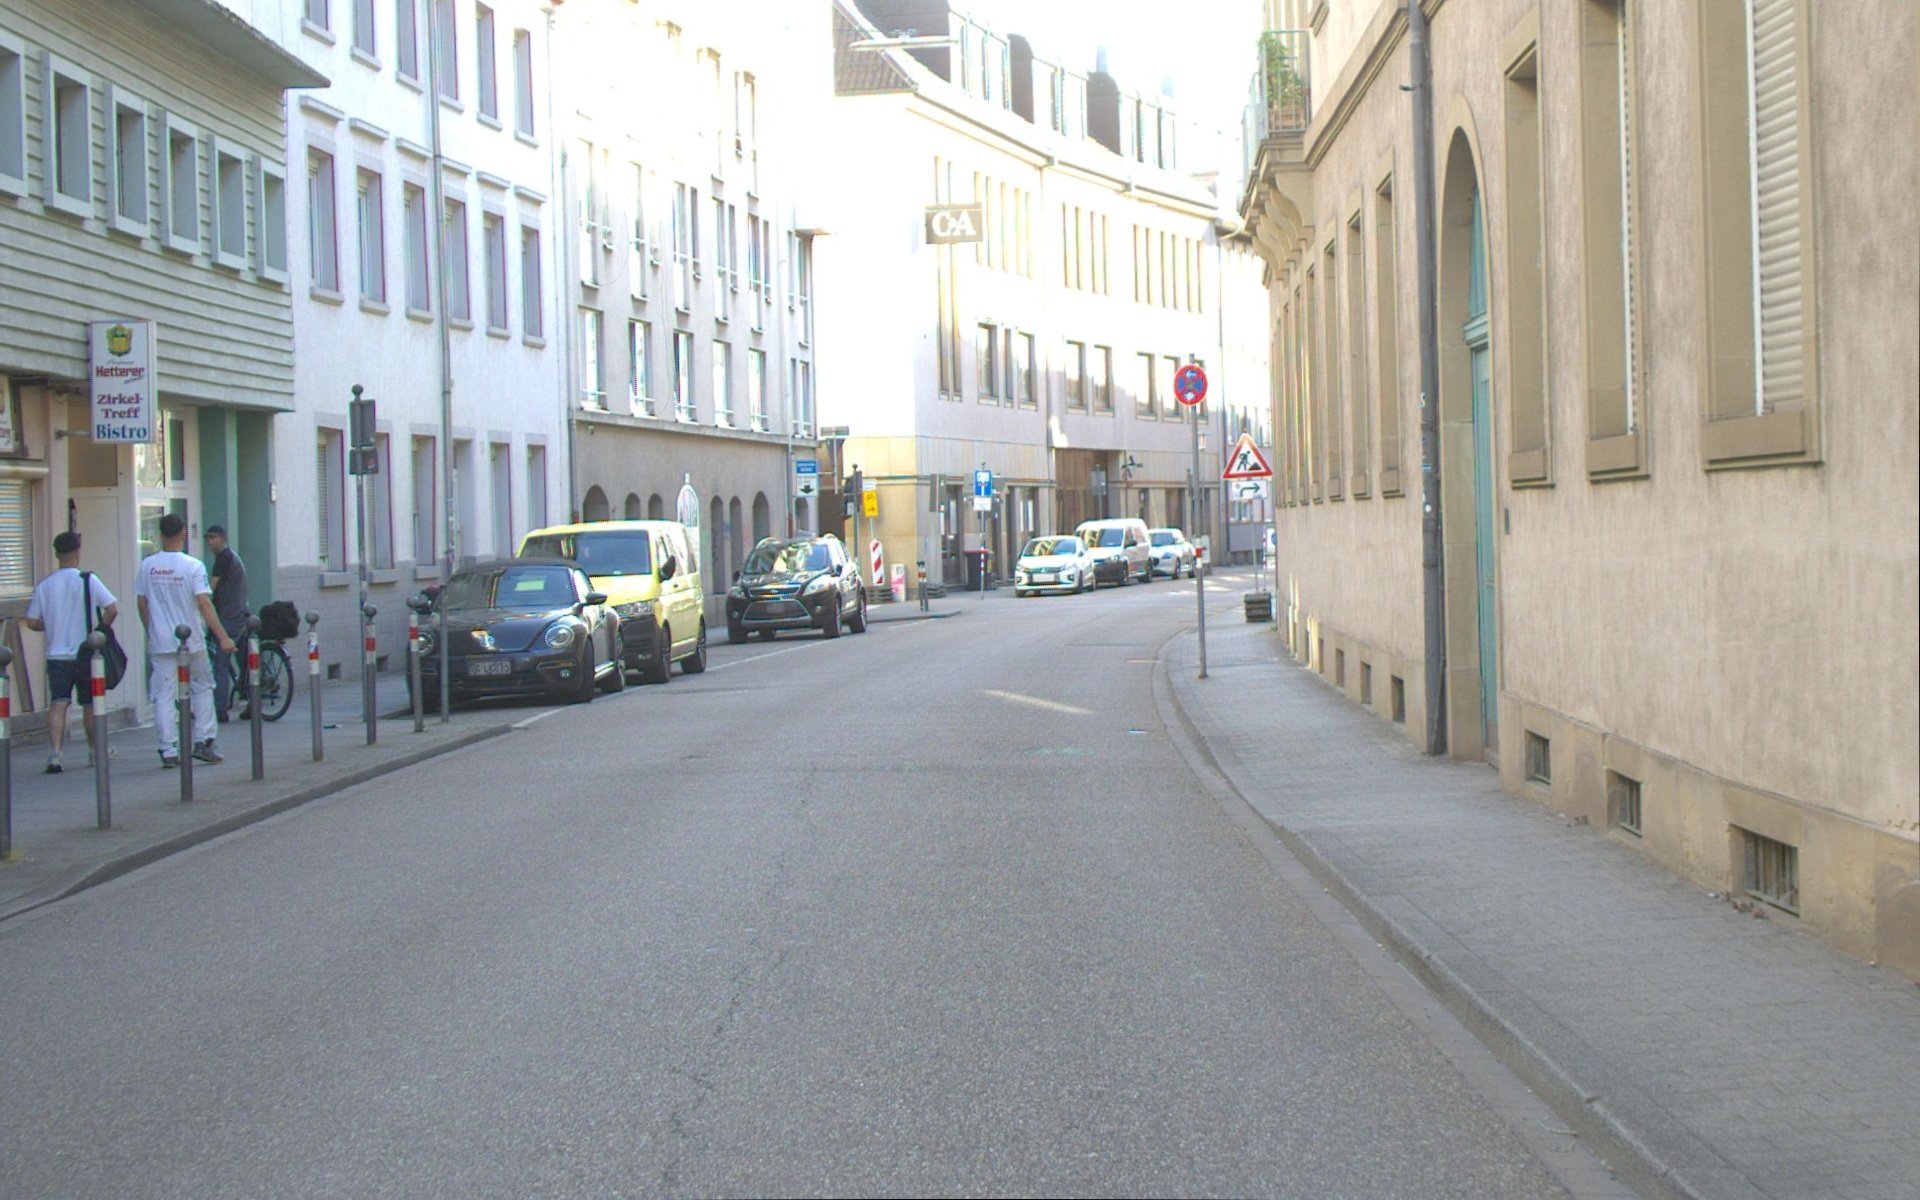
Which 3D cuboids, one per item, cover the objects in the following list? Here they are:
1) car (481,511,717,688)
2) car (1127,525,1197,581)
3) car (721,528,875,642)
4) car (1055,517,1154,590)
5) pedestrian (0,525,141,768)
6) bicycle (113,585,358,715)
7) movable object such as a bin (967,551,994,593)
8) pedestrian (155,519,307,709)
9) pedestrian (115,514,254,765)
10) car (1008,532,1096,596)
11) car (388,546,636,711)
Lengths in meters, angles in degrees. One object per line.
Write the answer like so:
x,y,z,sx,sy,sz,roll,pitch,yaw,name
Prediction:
-4.198,-0.053,40.786,1.880,1.860,4.863,-4,1,4,car
5.849,-1.367,99.180,1.272,1.501,3.399,-2,1,16,car
-2.655,-0.290,57.309,1.740,1.705,4.189,-4,1,8,car
3.945,-1.283,93.228,1.671,1.812,4.549,-2,1,15,car
-6.285,0.313,24.319,0.672,1.664,0.894,-2,1,2,pedestrian
-6.717,0.462,31.854,2.131,1.159,0.822,-1,1,25,bicycle
0.520,-0.733,89.029,0.609,1.057,0.713,1,1,6,movable object such as a bin
-6.753,0.123,31.862,1.079,1.722,0.801,-1,1,25,pedestrian
-5.502,0.271,24.432,0.698,1.728,0.829,-2,1,2,pedestrian
2.369,-0.939,87.552,1.671,1.501,3.792,-2,1,10,car
-4.540,0.245,35.381,1.819,1.481,4.076,-4,1,2,car
